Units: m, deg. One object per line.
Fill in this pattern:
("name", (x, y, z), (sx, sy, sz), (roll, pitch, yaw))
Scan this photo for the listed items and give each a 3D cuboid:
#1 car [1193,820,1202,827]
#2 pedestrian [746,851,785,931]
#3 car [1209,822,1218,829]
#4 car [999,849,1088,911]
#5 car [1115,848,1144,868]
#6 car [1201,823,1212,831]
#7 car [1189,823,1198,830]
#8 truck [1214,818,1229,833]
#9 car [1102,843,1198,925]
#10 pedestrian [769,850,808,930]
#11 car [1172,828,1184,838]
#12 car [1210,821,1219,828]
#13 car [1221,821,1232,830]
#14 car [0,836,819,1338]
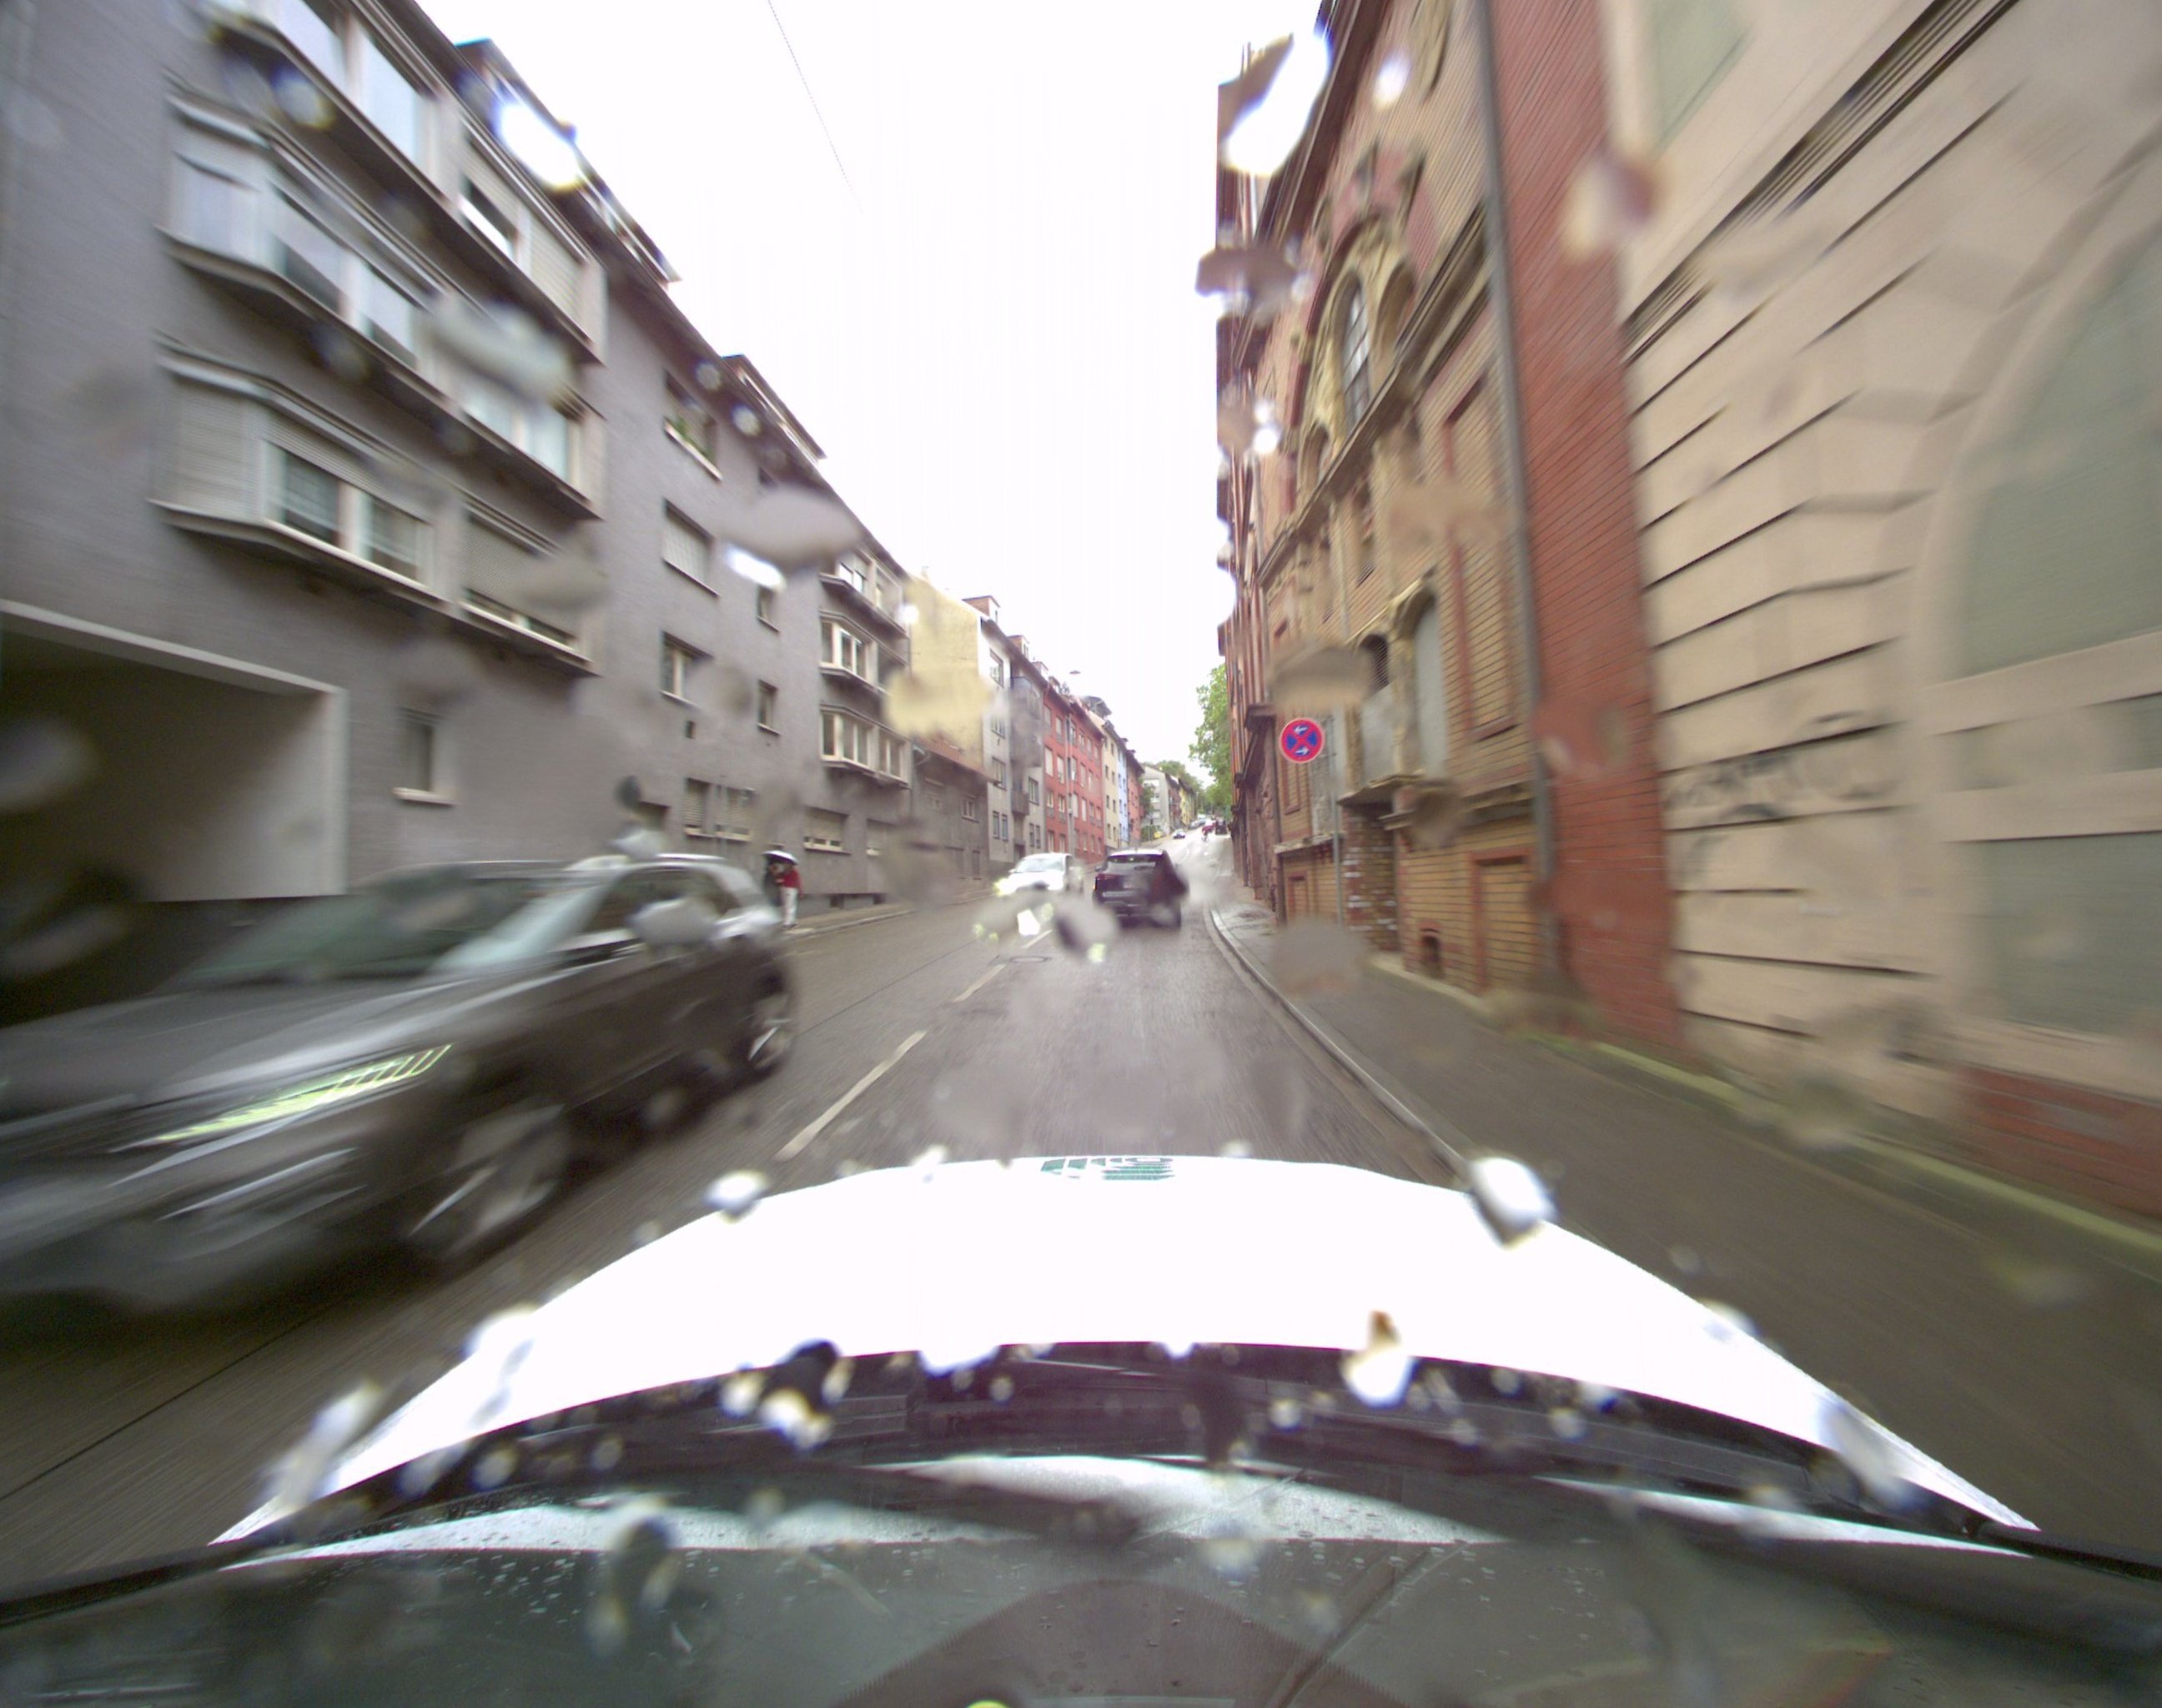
("car", (29.173, -7.695, 203.726), (1.783, 1.510, 4.012), (-3, 1, 10))
("pedestrian", (-7.260, 0.843, 18.782), (0.520, 1.776, 0.623), (-3, 0, 4))
("car", (30.506, -6.550, 187.016), (1.783, 1.510, 4.012), (-3, 1, 10))
("car", (-0.992, 0.694, 23.921), (1.754, 1.576, 4.046), (-3, 0, 9))
("car", (3.817, 0.299, 63.802), (1.634, 1.378, 3.863), (-4, 0, 11))
("car", (24.055, -5.175, 156.162), (1.783, 1.510, 4.012), (-3, 1, 10))
("car", (25.364, -6.288, 184.184), (1.783, 1.510, 4.012), (-3, 1, 10))
("truck", (24.048, -4.797, 139.285), (2.275, 2.440, 4.466), (-3, 1, 10))
("car", (1.417, 0.623, 18.017), (1.874, 1.594, 3.922), (-1, -1, 2))
("pedestrian", (-6.724, 0.818, 18.742), (0.520, 1.776, 0.623), (-3, 0, 4))
("car", (15.341, -3.299, 128.562), (1.703, 1.447, 3.933), (-3, 2, 10))
("car", (28.027, -6.188, 170.972), (1.783, 1.510, 4.012), (-3, 1, 10))
("car", (27.453, -5.323, 153.616), (1.783, 1.510, 4.514), (-3, 1, 11))
("car", (-3.066, 0.779, 4.545), (1.757, 1.576, 3.767), (-3, 0, 3))
